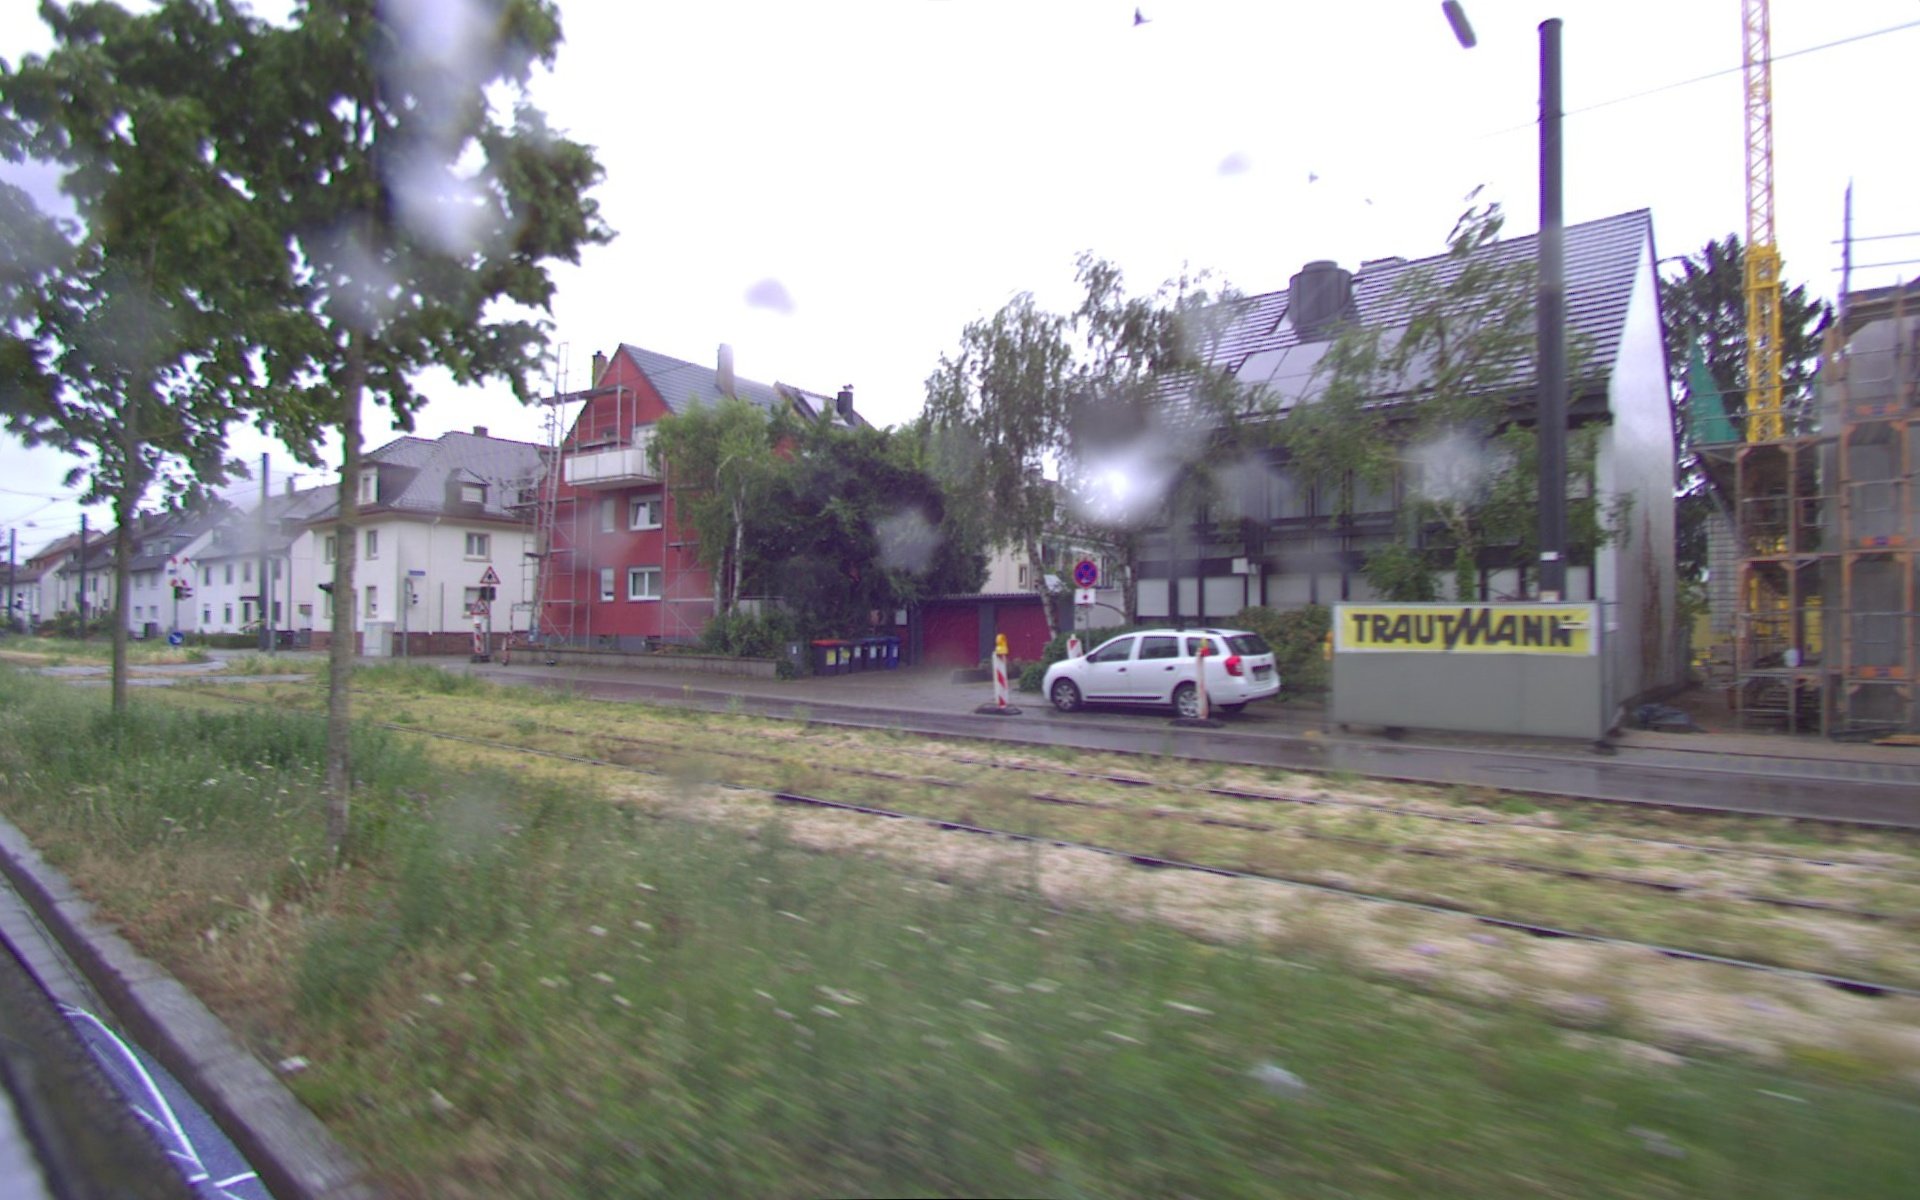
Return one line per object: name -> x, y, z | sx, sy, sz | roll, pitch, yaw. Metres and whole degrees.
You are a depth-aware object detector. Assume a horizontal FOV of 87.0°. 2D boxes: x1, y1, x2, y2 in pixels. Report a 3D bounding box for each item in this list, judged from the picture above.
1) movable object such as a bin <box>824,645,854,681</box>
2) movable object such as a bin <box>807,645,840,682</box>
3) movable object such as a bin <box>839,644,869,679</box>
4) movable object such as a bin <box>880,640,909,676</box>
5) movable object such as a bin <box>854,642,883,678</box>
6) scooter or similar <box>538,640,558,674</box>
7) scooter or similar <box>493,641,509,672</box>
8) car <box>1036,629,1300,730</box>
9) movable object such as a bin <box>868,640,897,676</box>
movable object such as a bin -> -3.730, 1.926, 31.141 | 0.757, 1.090, 0.554 | -2, -3, 41
movable object such as a bin -> -4.130, 1.916, 30.658 | 0.757, 1.099, 0.637 | -2, -3, 40
movable object such as a bin -> -3.316, 1.919, 31.625 | 0.757, 1.090, 0.554 | -2, -3, 41
movable object such as a bin -> -2.143, 1.885, 33.095 | 0.757, 1.147, 0.554 | -2, -3, 41
movable object such as a bin -> -2.917, 1.901, 32.148 | 0.757, 1.147, 0.554 | -2, -3, 41
scooter or similar -> -15.062, 2.062, 36.944 | 0.388, 1.189, 1.286 | 2, -2, -35
scooter or similar -> -17.492, 2.155, 38.598 | 0.434, 1.138, 1.287 | 1, -2, -20
car -> 3.643, 1.339, 18.300 | 4.421, 1.554, 1.692 | -2, 0, 42
movable object such as a bin -> -2.512, 1.874, 32.652 | 0.757, 1.147, 0.554 | -2, -3, 41
